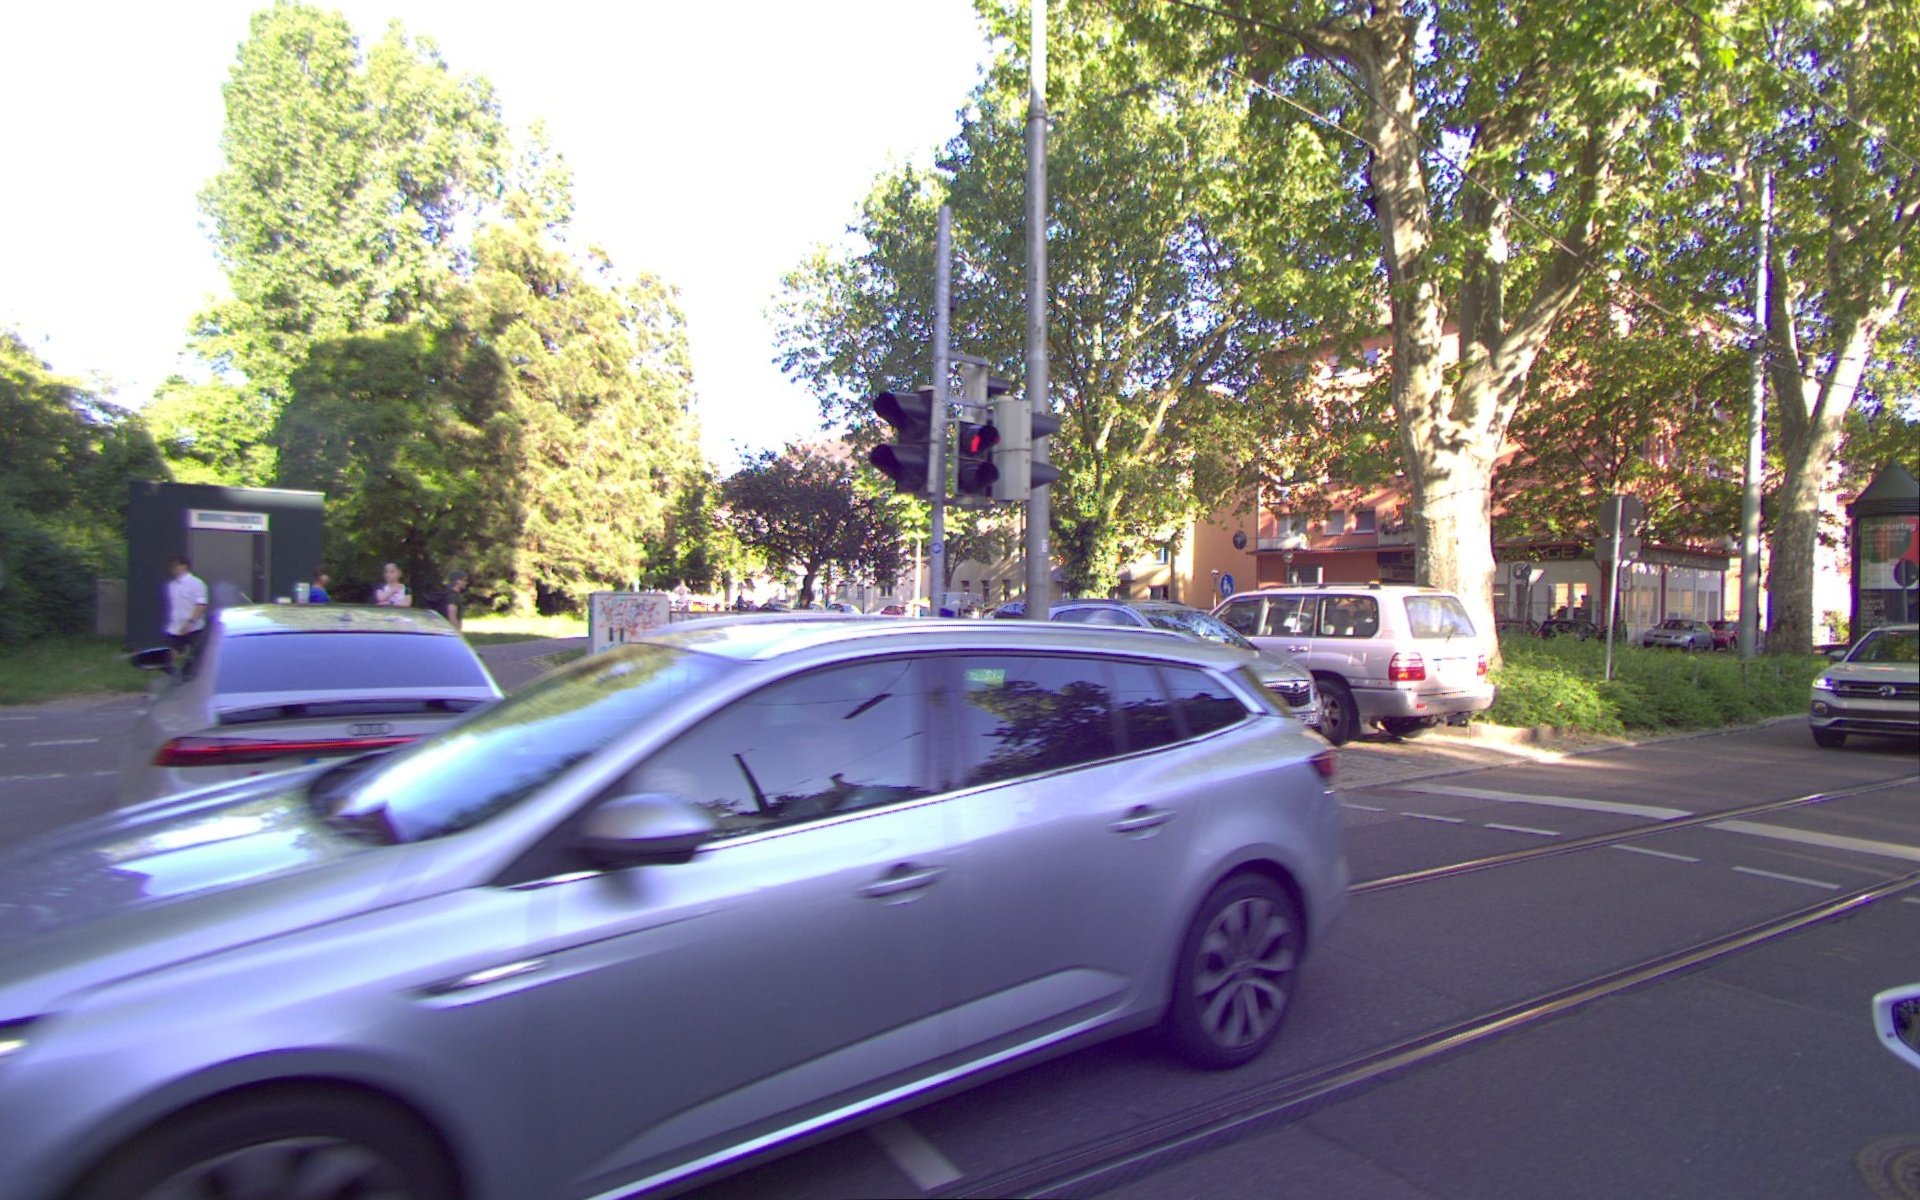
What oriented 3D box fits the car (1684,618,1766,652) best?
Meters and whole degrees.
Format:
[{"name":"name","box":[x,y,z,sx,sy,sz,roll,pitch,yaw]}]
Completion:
[{"name":"car","box":[36.286,1.657,47.620,3.959,1.507,1.935,2,0,-34]}]

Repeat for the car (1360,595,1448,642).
[{"name":"car","box":[20.473,0.862,46.223,4.887,2.030,1.974,2,0,-44]}]

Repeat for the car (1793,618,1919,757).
[{"name":"car","box":[12.461,1.048,12.805,4.074,1.589,1.804,2,-2,-35]}]

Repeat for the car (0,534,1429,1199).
[{"name":"car","box":[-0.456,0.692,3.296,4.161,1.480,1.764,2,-1,-34]}]

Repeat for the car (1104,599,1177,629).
[{"name":"car","box":[10.649,0.851,59.153,4.450,1.639,1.927,2,0,-42]}]

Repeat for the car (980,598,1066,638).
[{"name":"car","box":[3.418,0.956,55.569,1.985,2.040,4.686,1,0,-42]}]

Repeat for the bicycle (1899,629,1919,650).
[{"name":"bicycle","box":[49.980,2.071,52.503,2.561,1.012,0.960,2,0,-39]}]

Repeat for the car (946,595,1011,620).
[{"name":"car","box":[1.318,0.551,70.947,4.450,1.639,1.927,2,0,-42]}]

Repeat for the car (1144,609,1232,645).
[{"name":"car","box":[10.456,1.215,46.283,1.674,1.469,3.677,1,0,-39]}]

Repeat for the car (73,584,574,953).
[{"name":"car","box":[-4.167,0.675,6.588,1.936,1.480,4.732,1,0,-35]}]

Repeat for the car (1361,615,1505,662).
[{"name":"car","box":[17.610,1.383,37.577,1.845,1.509,4.489,1,0,-40]}]

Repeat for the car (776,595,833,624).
[{"name":"car","box":[-11.783,0.679,75.903,1.984,2.040,4.688,1,0,-41]}]

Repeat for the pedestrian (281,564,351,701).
[{"name":"pedestrian","box":[-8.172,0.399,12.747,0.686,1.681,0.559,2,1,42]}]

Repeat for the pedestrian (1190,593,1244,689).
[{"name":"pedestrian","box":[5.035,0.796,19.708,0.742,1.834,0.641,1,0,-29]}]

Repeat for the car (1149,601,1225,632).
[{"name":"car","box":[12.762,0.919,56.266,4.450,1.639,1.927,2,0,-42]}]

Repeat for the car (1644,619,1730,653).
[{"name":"car","box":[32.726,1.619,45.193,3.853,1.426,1.935,2,0,-34]}]

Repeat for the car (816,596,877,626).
[{"name":"car","box":[-8.129,0.765,71.477,1.984,2.040,4.688,1,0,-41]}]

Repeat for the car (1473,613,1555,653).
[{"name":"car","box":[23.283,1.354,42.142,1.973,1.546,3.974,2,0,45]}]

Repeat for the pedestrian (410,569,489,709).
[{"name":"pedestrian","box":[-6.479,0.478,12.738,0.771,1.695,0.705,1,1,-35]}]

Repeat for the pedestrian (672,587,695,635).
[{"name":"pedestrian","box":[-9.910,0.391,36.036,0.699,1.695,0.777,1,0,-13]}]

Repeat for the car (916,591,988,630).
[{"name":"car","box":[-0.556,0.617,61.967,2.025,2.227,4.694,1,0,-37]}]

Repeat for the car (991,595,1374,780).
[{"name":"car","box":[2.352,0.825,11.599,1.884,1.668,4.111,1,0,-35]}]

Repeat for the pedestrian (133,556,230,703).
[{"name":"pedestrian","box":[-9.749,0.352,12.594,0.908,1.760,0.836,1,1,-39]}]

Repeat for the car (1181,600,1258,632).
[{"name":"car","box":[14.178,0.866,54.765,4.450,1.639,1.927,2,0,-42]}]

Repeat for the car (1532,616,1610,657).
[{"name":"car","box":[24.762,1.454,40.677,3.974,1.513,1.794,2,0,-45]}]

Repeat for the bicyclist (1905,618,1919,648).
[{"name":"bicyclist","box":[50.051,1.718,52.516,1.107,1.527,0.793,1,0,-39]}]

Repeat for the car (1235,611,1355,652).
[{"name":"car","box":[13.867,1.286,41.792,1.810,1.469,4.427,1,0,-42]}]

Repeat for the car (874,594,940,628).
[{"name":"car","box":[-3.537,0.707,66.164,1.982,2.040,4.694,1,0,-37]}]

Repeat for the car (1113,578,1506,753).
[{"name":"car","box":[4.299,0.675,13.075,1.919,1.858,4.539,1,0,-35]}]

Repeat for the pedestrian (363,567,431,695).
[{"name":"pedestrian","box":[-7.813,0.418,13.951,0.523,1.728,0.592,2,0,24]}]
